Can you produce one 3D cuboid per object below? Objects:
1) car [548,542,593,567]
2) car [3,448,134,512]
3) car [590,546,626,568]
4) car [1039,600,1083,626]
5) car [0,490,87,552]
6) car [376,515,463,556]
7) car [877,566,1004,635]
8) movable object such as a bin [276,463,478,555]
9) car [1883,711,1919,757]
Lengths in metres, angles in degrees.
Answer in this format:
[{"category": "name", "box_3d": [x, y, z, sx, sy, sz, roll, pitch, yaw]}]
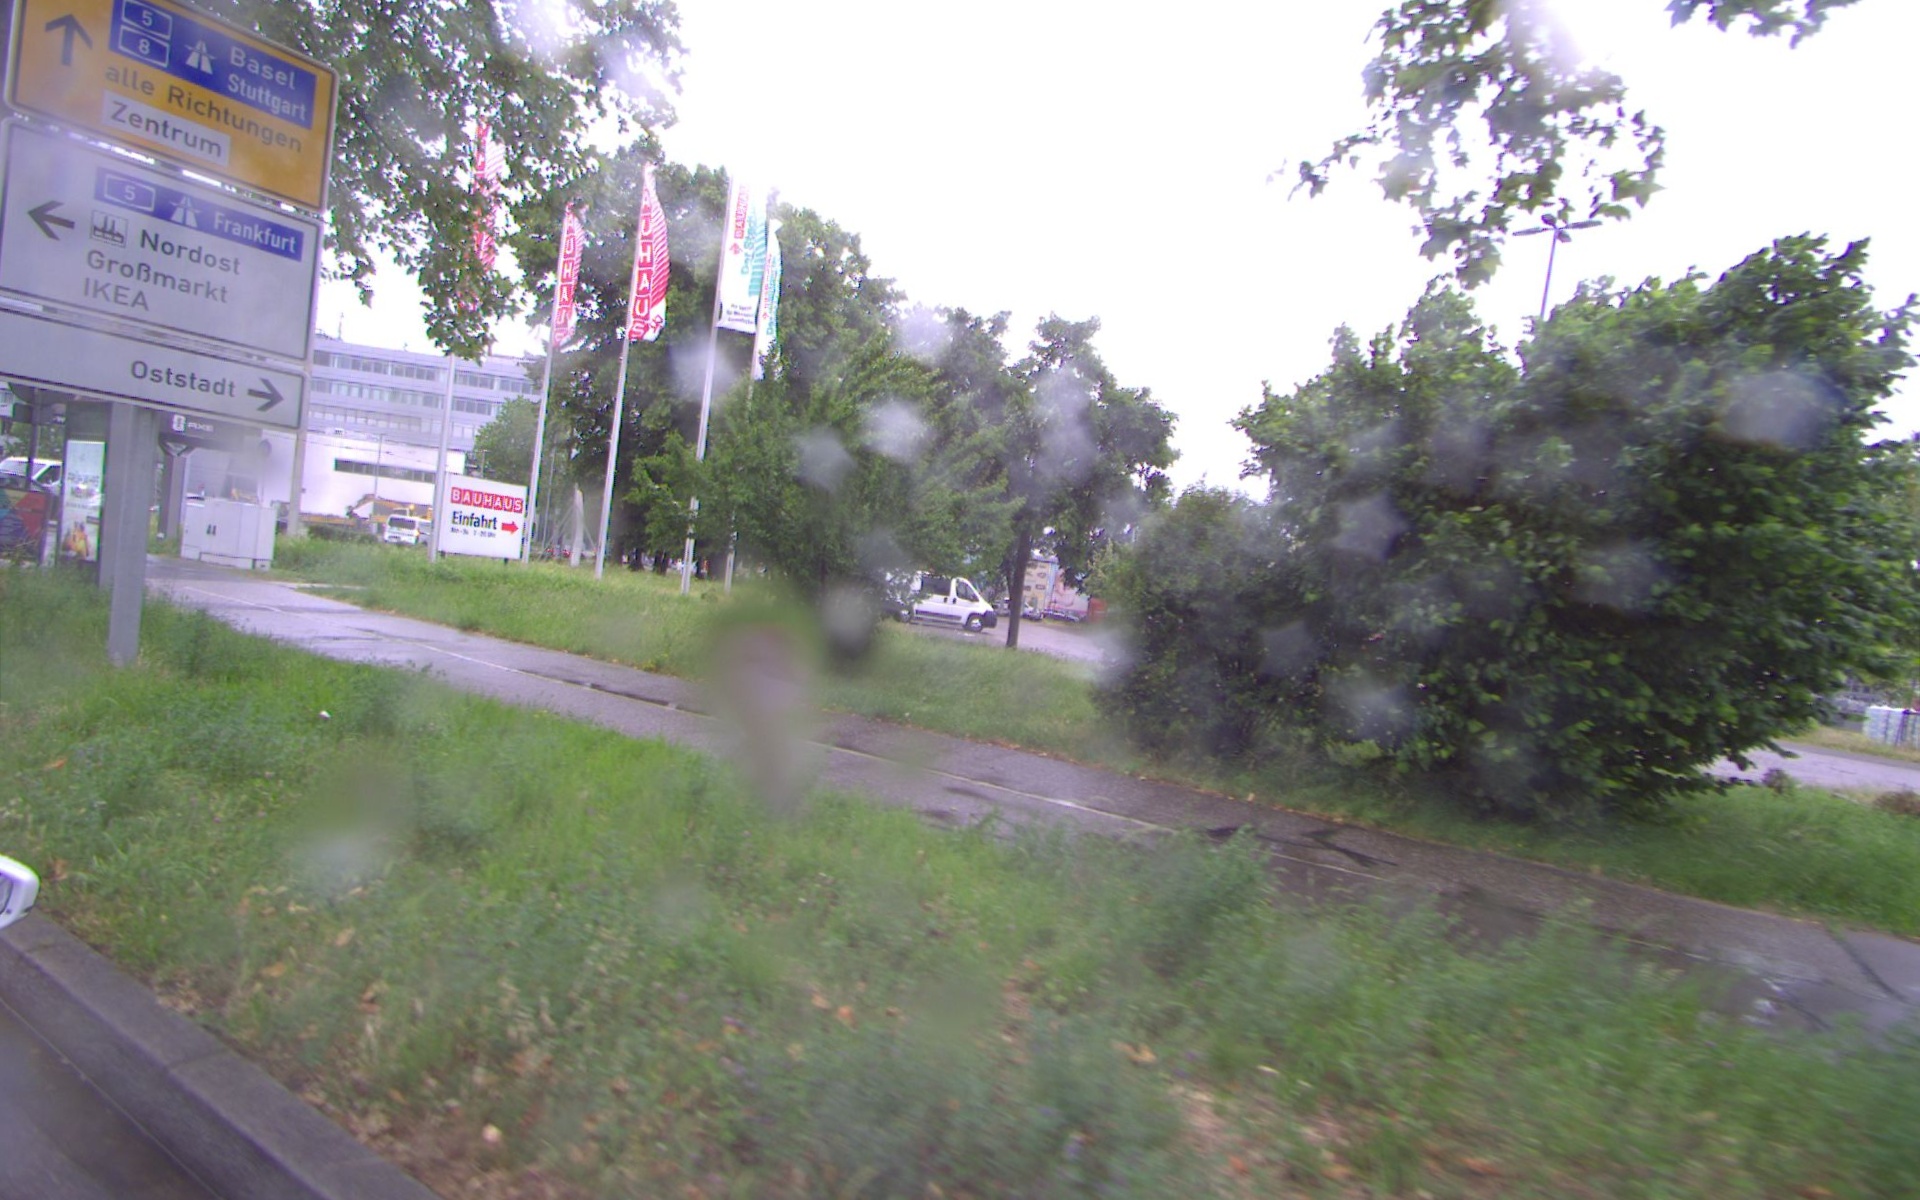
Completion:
[{"category": "car", "box_3d": [-29.377, -3.418, 76.061, 1.769, 1.556, 4.384, 7, 0, -4]}, {"category": "car", "box_3d": [-38.289, -5.091, 43.353, 1.769, 2.220, 4.380, 7, 2, -3]}, {"category": "car", "box_3d": [-30.767, -3.755, 88.018, 1.770, 1.556, 4.383, 7, 0, -4]}, {"category": "car", "box_3d": [10.216, 1.316, 101.984, 4.085, 2.037, 2.001, 7, -1, 1]}, {"category": "car", "box_3d": [-27.367, -2.338, 28.151, 1.768, 1.556, 4.387, 7, 0, 3]}, {"category": "car", "box_3d": [-27.336, -3.245, 51.045, 1.768, 1.556, 4.387, 7, 0, 3]}, {"category": "car", "box_3d": [-0.823, 0.034, 41.354, 4.833, 2.180, 1.803, 7, 0, -9]}, {"category": "movable object such as a bin", "box_3d": [-57.655, -8.845, 100.270, 14.695, 6.356, 8.270, 7, -1, -2]}, {"category": "car", "box_3d": [50.635, 7.097, 51.340, 2.044, 2.229, 5.155, 5, -1, -1]}]
